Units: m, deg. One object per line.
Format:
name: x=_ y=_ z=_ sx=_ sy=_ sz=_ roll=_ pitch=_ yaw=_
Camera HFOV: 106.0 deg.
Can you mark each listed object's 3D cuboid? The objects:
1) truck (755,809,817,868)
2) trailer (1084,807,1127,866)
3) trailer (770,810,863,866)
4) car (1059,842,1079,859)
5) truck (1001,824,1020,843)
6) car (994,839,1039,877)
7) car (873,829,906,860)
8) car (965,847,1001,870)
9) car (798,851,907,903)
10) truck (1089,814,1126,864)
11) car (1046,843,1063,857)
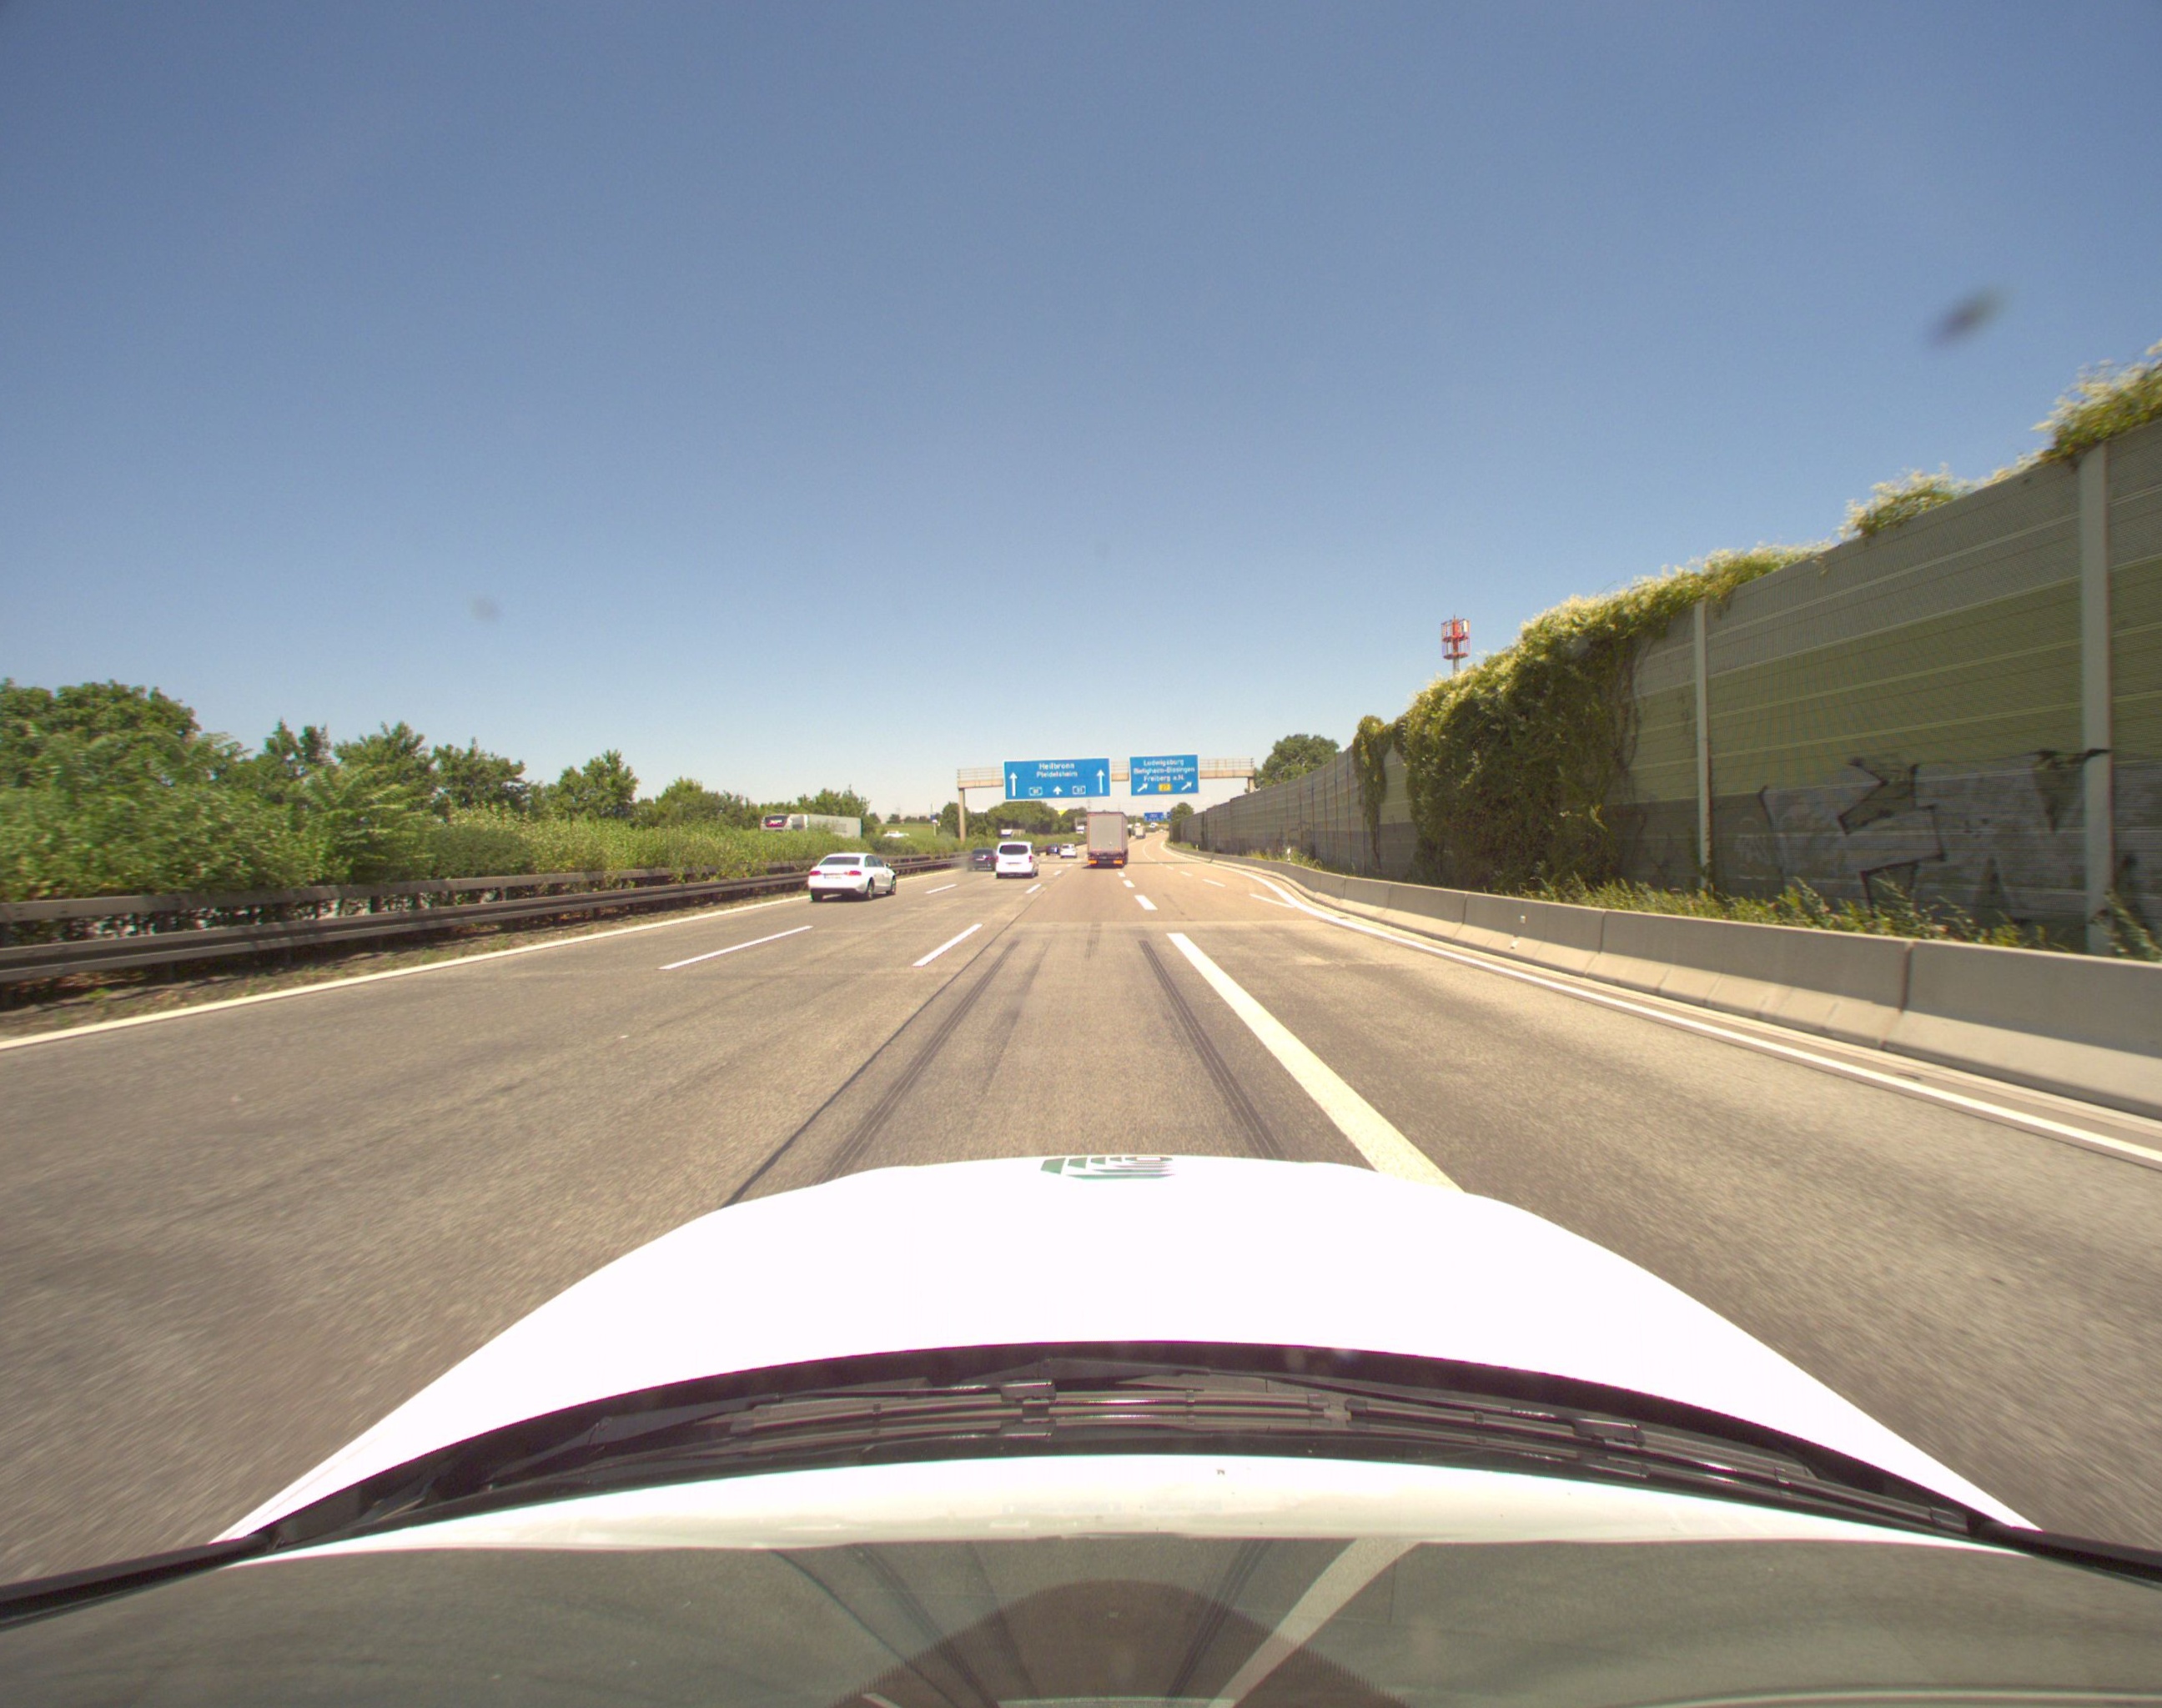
truck: x=-21.823 y=-1.148 z=60.530 sx=2.595 sy=4.155 sz=4.751 roll=-1 pitch=1 yaw=2
trailer: x=1.968 y=-1.224 z=62.450 sx=2.916 sy=4.015 sz=12.046 roll=-1 pitch=0 yaw=3
trailer: x=-21.579 y=-1.245 z=67.677 sx=2.595 sy=4.133 sz=14.235 roll=-1 pitch=1 yaw=2
car: x=-1.373 y=-0.359 z=94.098 sx=1.896 sy=1.851 sz=4.634 roll=-1 pitch=0 yaw=3
truck: x=-15.077 y=-4.395 z=175.005 sx=2.990 sy=3.967 sz=10.327 roll=0 pitch=1 yaw=2
car: x=-3.298 y=0.193 z=42.633 sx=1.924 sy=1.851 sz=4.692 roll=-1 pitch=0 yaw=0
car: x=-17.610 y=-0.890 z=74.943 sx=1.986 sy=2.764 sz=4.001 roll=-1 pitch=1 yaw=1
car: x=-6.397 y=0.256 z=53.698 sx=1.751 sy=1.408 sz=5.039 roll=-1 pitch=0 yaw=0
car: x=-7.122 y=0.648 z=25.954 sx=1.869 sy=1.440 sz=5.128 roll=0 pitch=1 yaw=2
truck: x=2.349 y=-1.207 z=70.215 sx=2.916 sy=4.015 sz=7.588 roll=-1 pitch=0 yaw=3
car: x=-3.550 y=-0.568 z=109.572 sx=1.896 sy=1.689 sz=4.636 roll=-1 pitch=1 yaw=4
